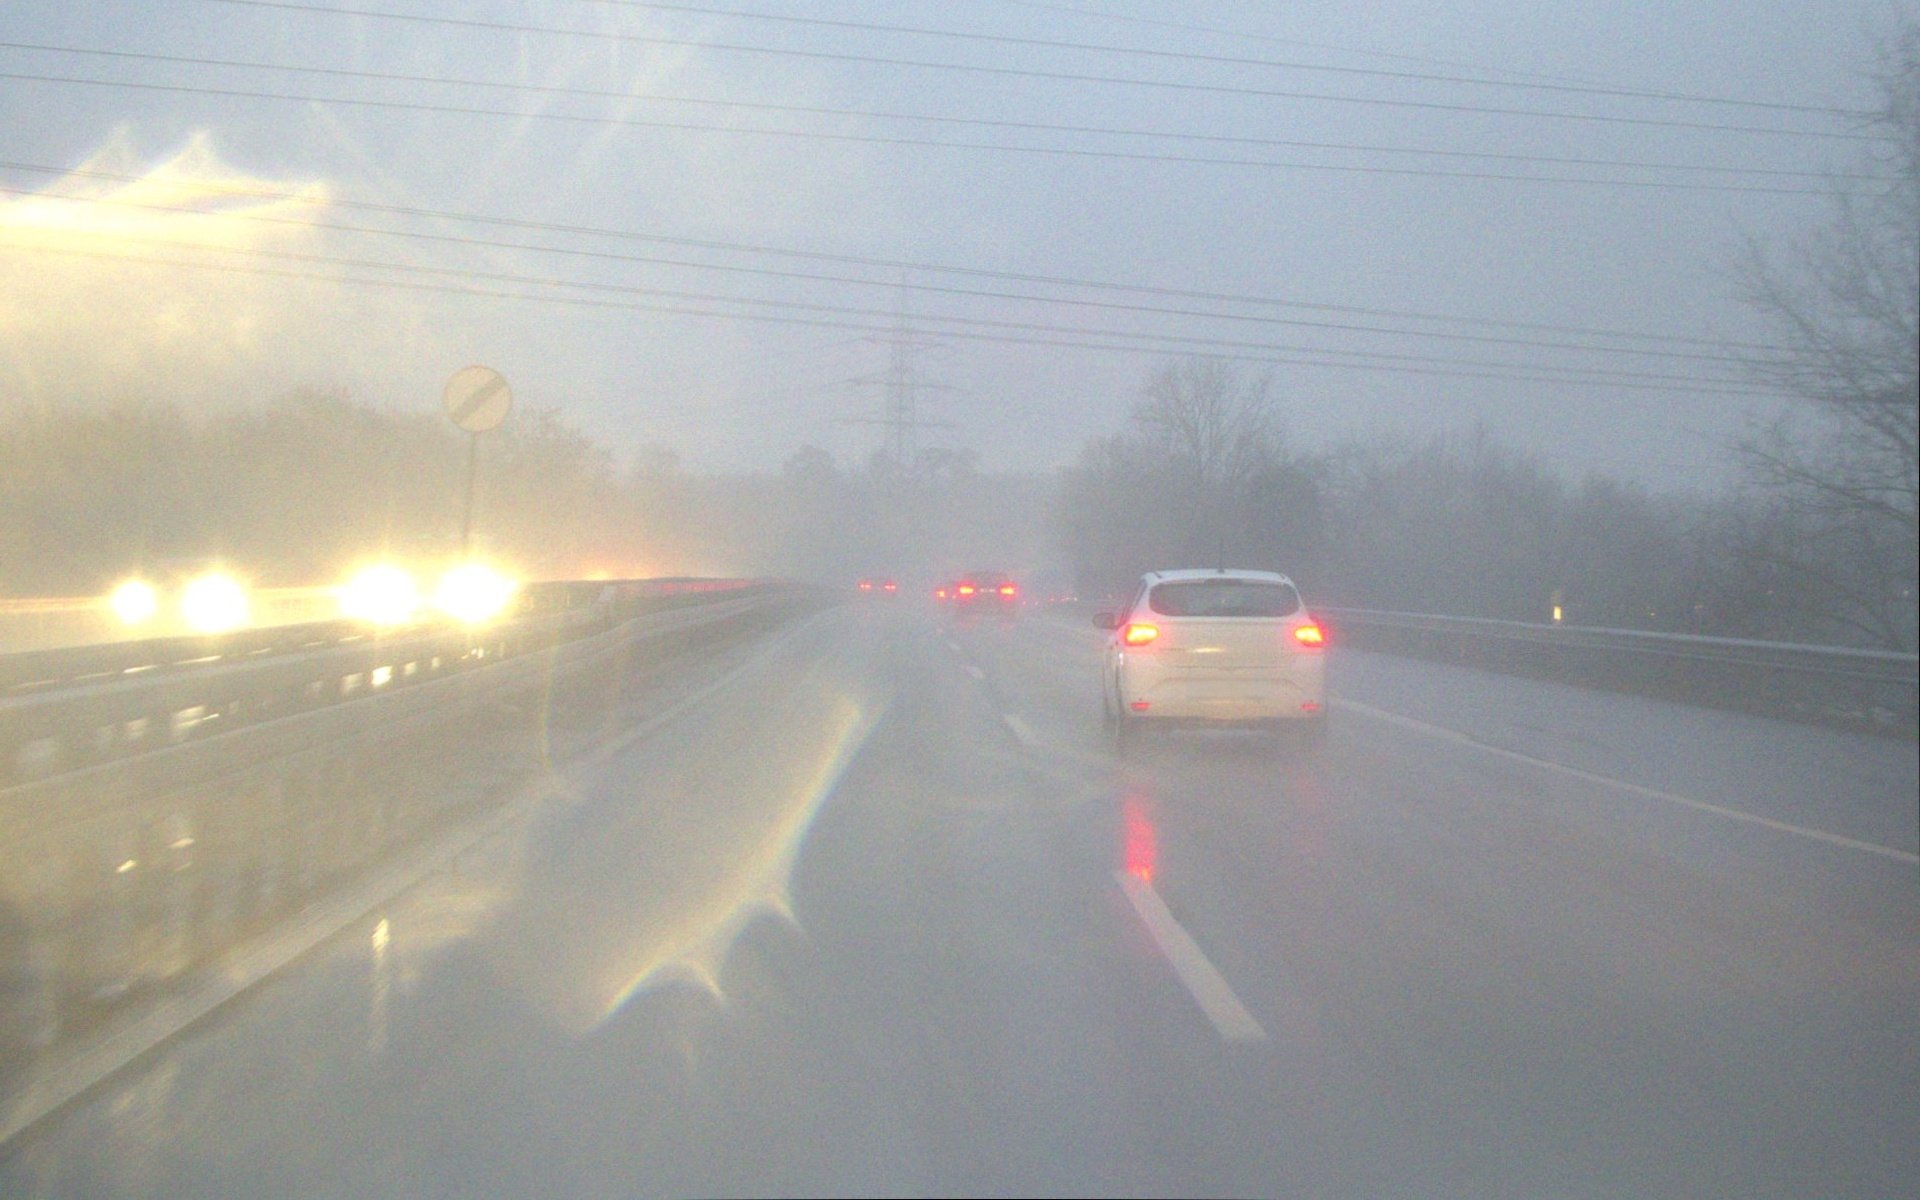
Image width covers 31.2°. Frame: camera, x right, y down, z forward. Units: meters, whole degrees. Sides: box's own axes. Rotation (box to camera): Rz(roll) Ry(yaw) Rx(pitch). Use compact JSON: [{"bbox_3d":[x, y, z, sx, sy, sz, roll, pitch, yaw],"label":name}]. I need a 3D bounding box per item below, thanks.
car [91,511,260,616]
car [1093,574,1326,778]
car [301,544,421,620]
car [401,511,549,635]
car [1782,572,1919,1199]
[{"bbox_3d":[-13.729,-0.642,60.384,2.070,1.785,4.340,0,1,-1],"label":"car"},{"bbox_3d":[2.117,0.608,30.034,1.845,1.630,3.768,0,1,1],"label":"car"},{"bbox_3d":[-14.374,-0.449,82.742,2.164,1.785,4.809,0,1,-1],"label":"car"},{"bbox_3d":[-8.574,-0.492,61.160,2.070,2.107,4.762,0,1,-1],"label":"car"},{"bbox_3d":[2.899,0.687,6.175,1.845,1.448,4.149,0,1,0],"label":"car"}]
